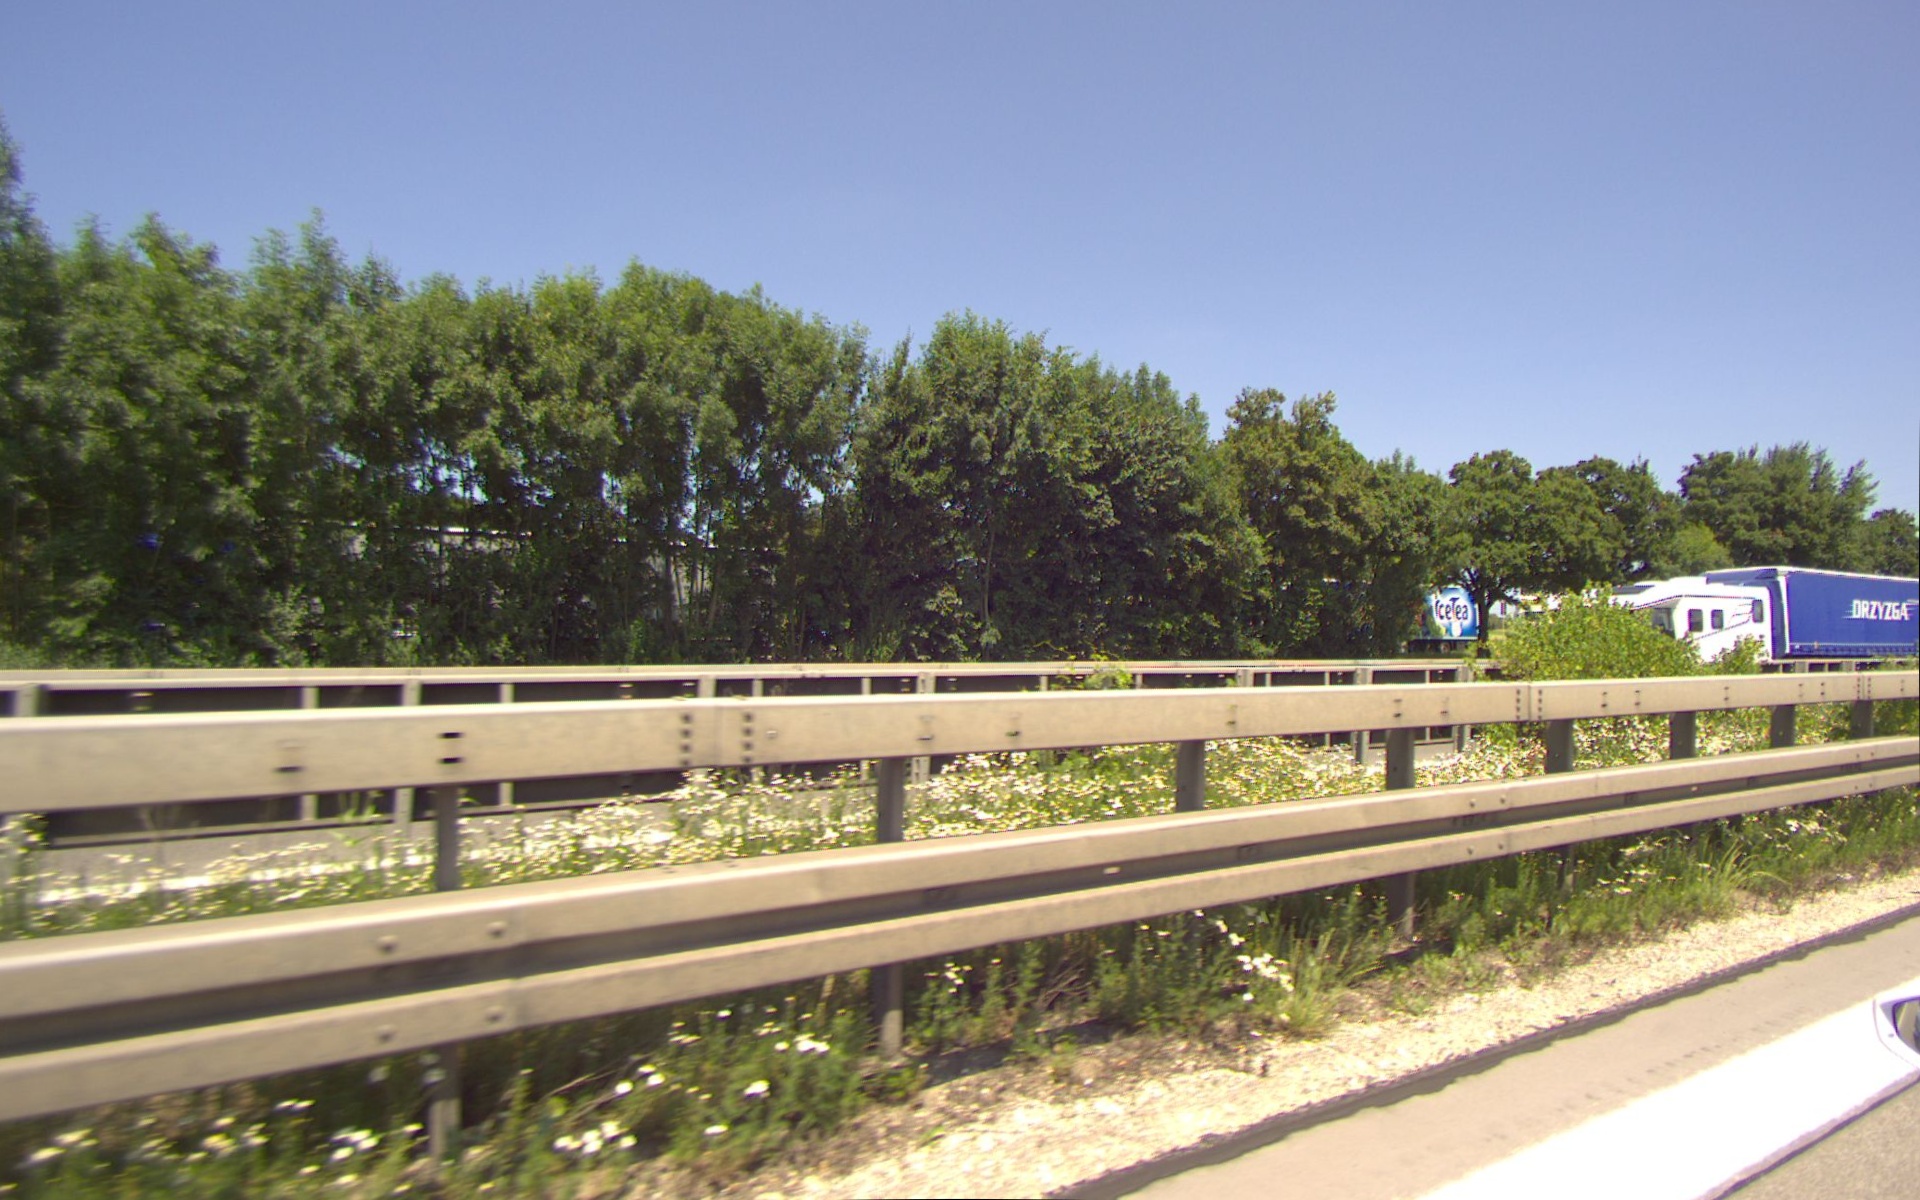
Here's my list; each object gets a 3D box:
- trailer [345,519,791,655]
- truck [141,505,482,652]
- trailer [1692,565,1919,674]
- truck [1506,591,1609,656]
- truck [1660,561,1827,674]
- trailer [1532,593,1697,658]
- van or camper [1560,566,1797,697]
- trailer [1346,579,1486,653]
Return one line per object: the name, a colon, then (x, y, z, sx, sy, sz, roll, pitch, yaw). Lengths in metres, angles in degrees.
trailer: (-11.986, -0.193, 32.196, 13.032, 3.746, 1.984, 2, 0, -31)
truck: (-18.035, -0.465, 28.569, 7.811, 3.696, 1.983, 2, 0, -31)
trailer: (34.193, 0.904, 39.835, 14.361, 3.784, 2.828, 2, 0, -30)
truck: (36.790, 1.458, 61.838, 6.026, 3.833, 2.783, 2, 0, -30)
truck: (28.397, 0.671, 36.393, 5.627, 3.795, 2.834, 2, 0, -30)
trailer: (42.751, 1.733, 65.284, 14.241, 3.829, 2.755, 2, 0, -30)
van or camper: (18.485, 0.859, 25.734, 6.870, 3.007, 2.260, 2, -3, -30)
trailer: (25.025, 0.921, 54.923, 8.616, 3.710, 2.532, 2, 0, -32)
